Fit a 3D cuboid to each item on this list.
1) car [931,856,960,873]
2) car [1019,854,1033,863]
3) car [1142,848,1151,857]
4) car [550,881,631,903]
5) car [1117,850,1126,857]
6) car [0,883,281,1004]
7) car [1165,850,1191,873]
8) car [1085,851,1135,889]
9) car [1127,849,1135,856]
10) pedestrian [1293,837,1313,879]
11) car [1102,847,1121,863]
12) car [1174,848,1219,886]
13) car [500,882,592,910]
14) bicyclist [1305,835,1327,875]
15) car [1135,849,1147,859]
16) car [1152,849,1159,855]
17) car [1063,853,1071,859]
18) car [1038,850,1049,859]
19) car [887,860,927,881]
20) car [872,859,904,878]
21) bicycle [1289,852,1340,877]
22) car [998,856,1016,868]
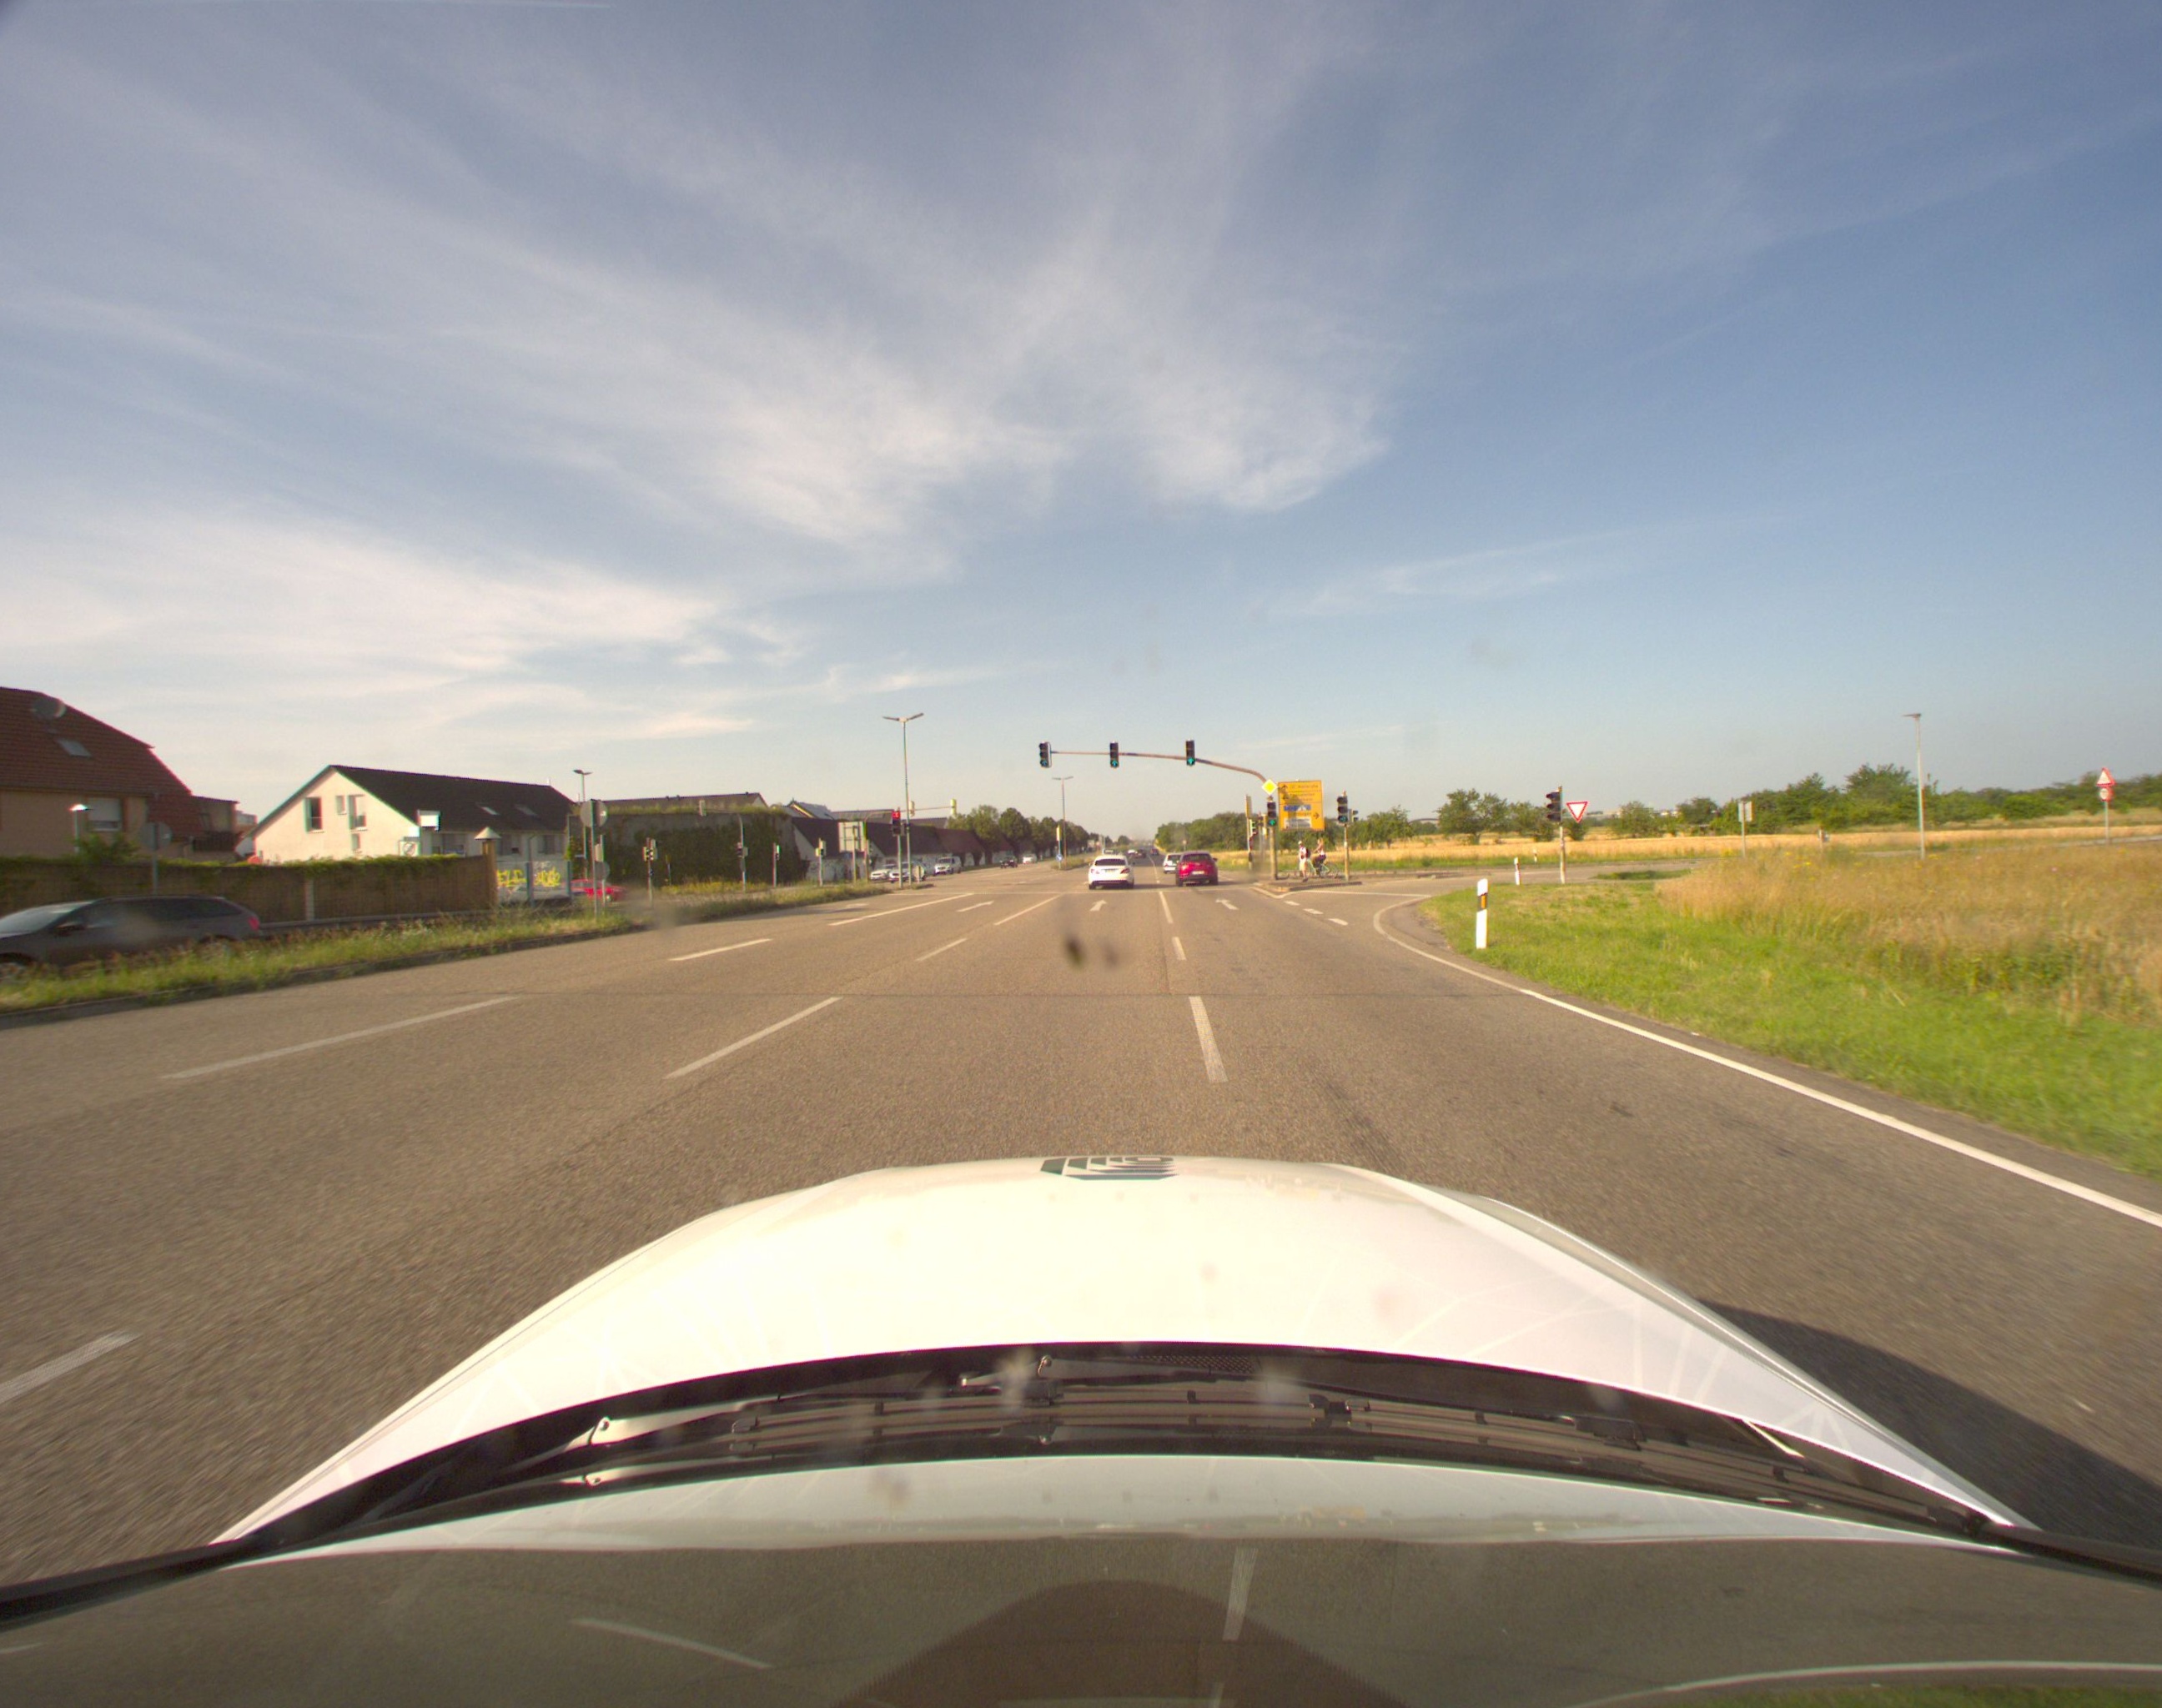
[{"bbox_3d":[-14.319,1.119,86.236,1.988,1.687,4.580,-1,0,4],"label":"car"},{"bbox_3d":[-9.352,0.734,139.902,1.986,1.497,4.002,-1,0,2],"label":"car"},{"bbox_3d":[13.062,-0.257,162.045,1.703,1.736,3.872,-1,0,5],"label":"car"},{"bbox_3d":[-30.106,2.328,50.086,3.982,1.241,1.408,-1,0,-7],"label":"car"},{"bbox_3d":[8.263,-0.103,165.180,1.709,1.492,3.590,0,0,6],"label":"car"},{"bbox_3d":[-16.669,1.397,13.582,1.713,1.628,4.666,0,0,6],"label":"car"},{"bbox_3d":[6.769,0.506,56.991,1.721,1.530,3.480,0,0,6],"label":"car"},{"bbox_3d":[1.316,0.639,35.212,1.885,1.509,4.006,-1,0,5],"label":"car"},{"bbox_3d":[12.082,-0.338,196.062,1.769,1.665,3.665,-1,0,2],"label":"car"},{"bbox_3d":[9.329,0.154,34.249,0.706,1.751,0.864,-1,0,7],"label":"pedestrian"},{"bbox_3d":[3.822,0.095,100.944,2.015,1.891,4.967,0,1,6],"label":"car"},{"bbox_3d":[5.075,0.538,36.193,1.745,1.517,4.007,-2,0,6],"label":"car"},{"bbox_3d":[-30.031,2.334,45.752,3.973,1.458,1.760,-1,0,0],"label":"car"},{"bbox_3d":[10.444,0.042,36.221,0.844,1.755,0.800,-1,0,6],"label":"bicyclist"},{"bbox_3d":[10.394,-0.083,140.154,1.829,1.684,4.009,0,0,8],"label":"car"},{"bbox_3d":[15.679,-0.491,170.801,1.432,1.284,2.919,0,0,6],"label":"car"},{"bbox_3d":[-3.607,0.538,212.271,1.746,1.530,4.004,-1,0,4],"label":"car"},{"bbox_3d":[-7.548,0.015,165.363,1.986,1.794,4.002,-1,0,2],"label":"car"},{"bbox_3d":[-12.672,1.192,59.555,1.777,1.437,4.359,-1,0,2],"label":"car"},{"bbox_3d":[-17.254,1.287,73.012,1.882,1.618,3.858,-1,0,2],"label":"car"},{"bbox_3d":[10.363,0.451,36.249,2.084,1.088,0.809,0,0,8],"label":"bicycle"},{"bbox_3d":[-9.477,1.012,104.672,1.816,1.508,3.799,-1,0,2],"label":"car"}]
